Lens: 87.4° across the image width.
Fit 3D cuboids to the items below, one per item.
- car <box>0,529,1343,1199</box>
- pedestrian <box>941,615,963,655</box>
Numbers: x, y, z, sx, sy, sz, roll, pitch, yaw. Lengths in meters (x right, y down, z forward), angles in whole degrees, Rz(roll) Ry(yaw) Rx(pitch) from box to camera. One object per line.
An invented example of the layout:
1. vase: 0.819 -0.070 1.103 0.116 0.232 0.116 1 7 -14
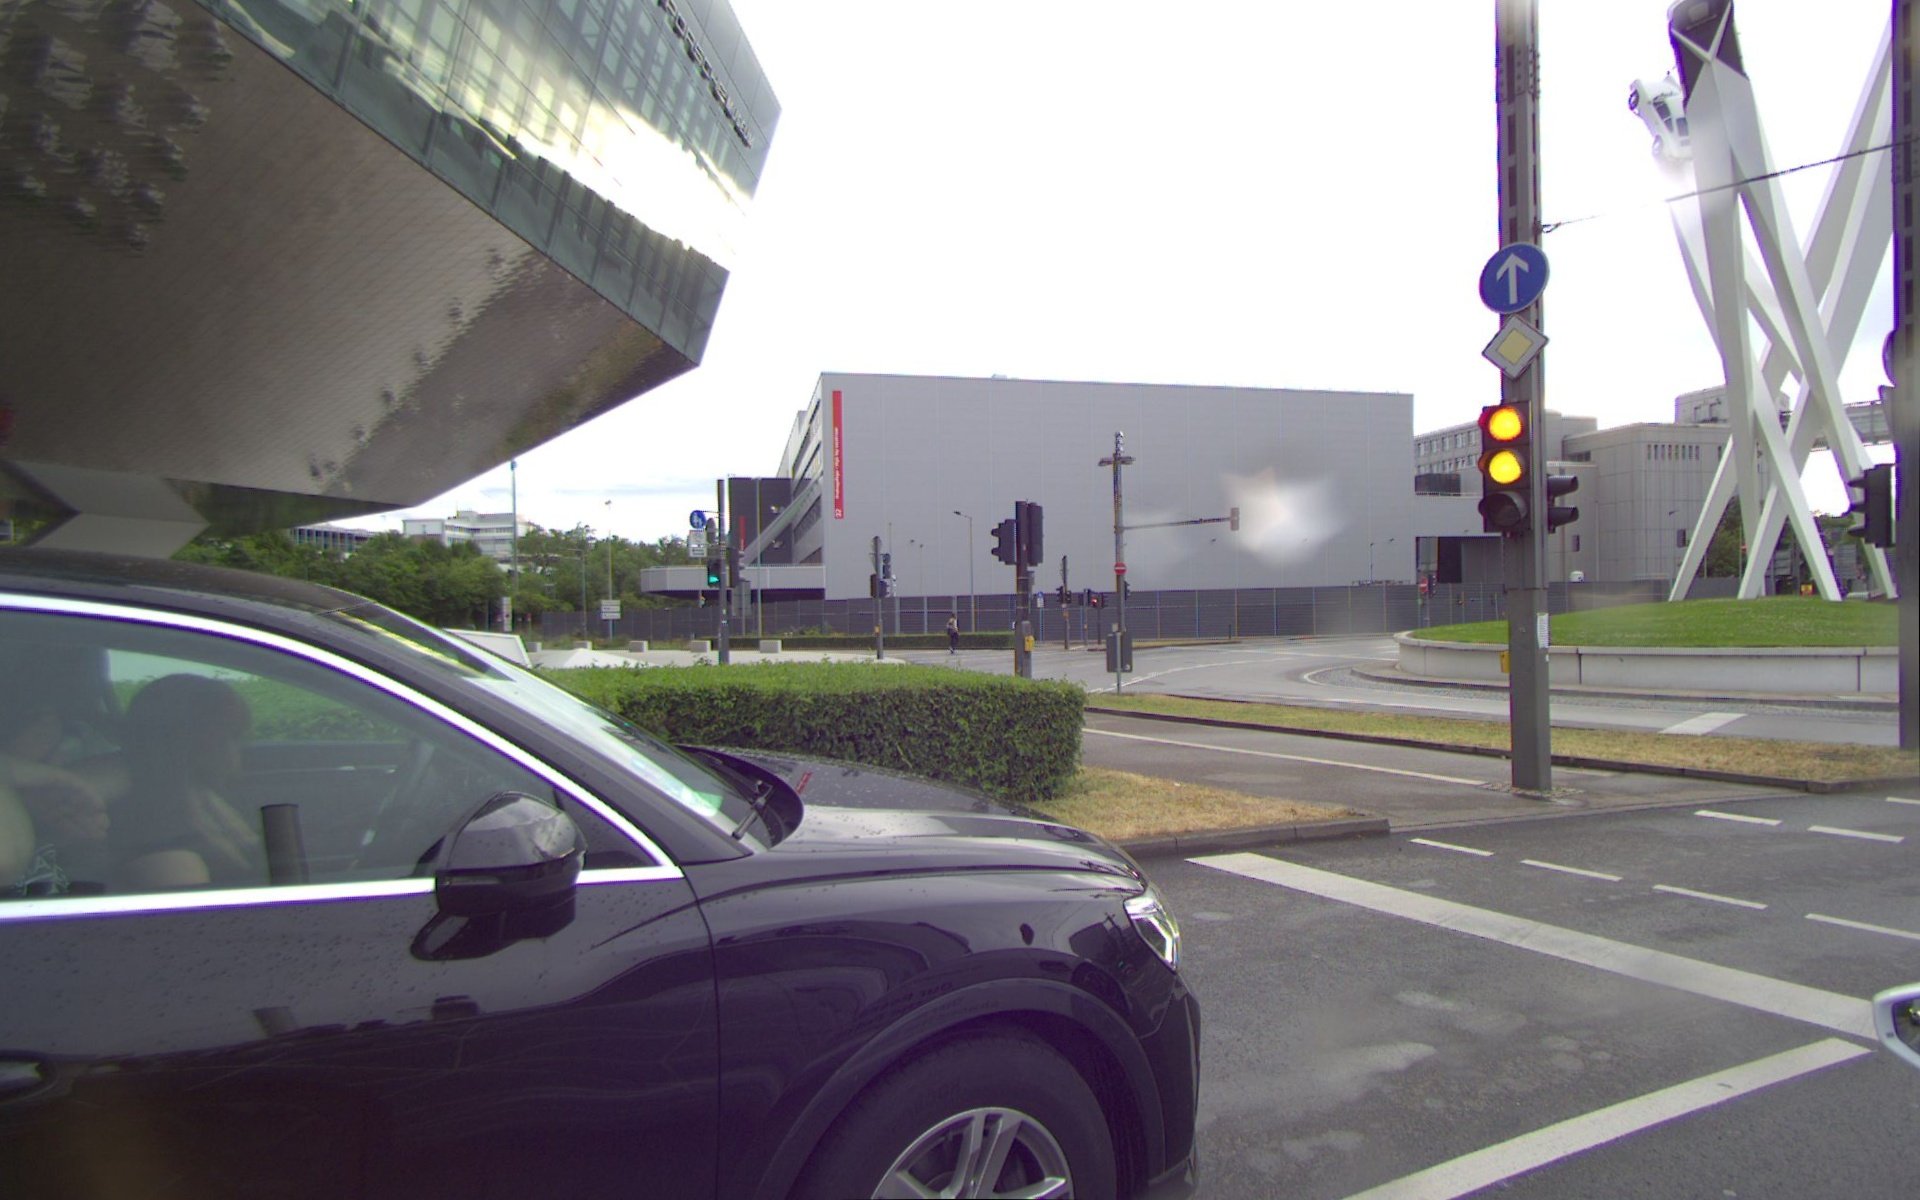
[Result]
1. car: -1.485 0.688 1.803 4.344 1.538 1.743 2 0 -31
2. pedestrian: -0.385 1.611 46.189 0.638 1.827 0.851 0 0 35
